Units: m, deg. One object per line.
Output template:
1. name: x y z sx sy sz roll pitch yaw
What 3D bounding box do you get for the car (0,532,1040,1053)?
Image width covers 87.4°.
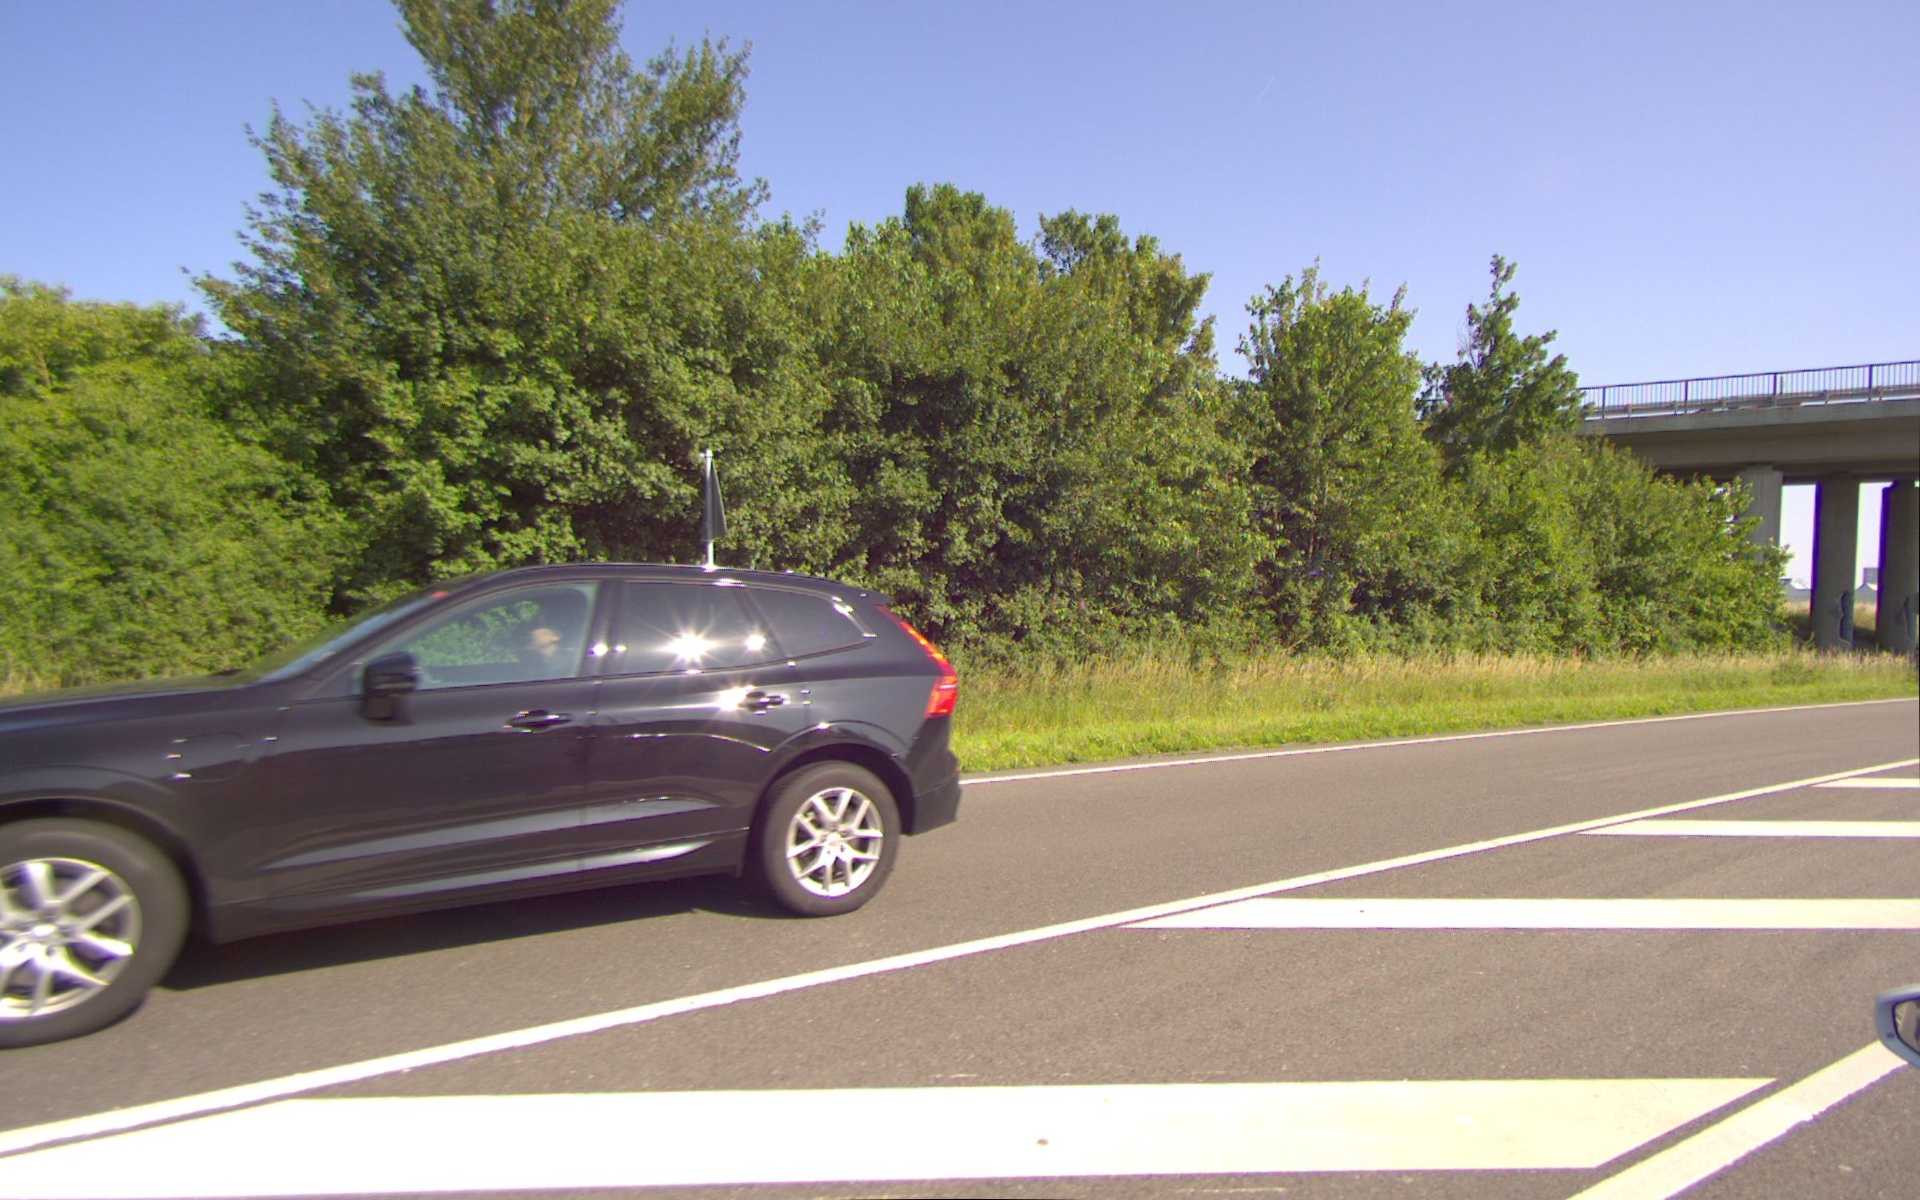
1. car: -1.920 0.641 4.946 4.382 1.614 1.911 1 -1 -33
